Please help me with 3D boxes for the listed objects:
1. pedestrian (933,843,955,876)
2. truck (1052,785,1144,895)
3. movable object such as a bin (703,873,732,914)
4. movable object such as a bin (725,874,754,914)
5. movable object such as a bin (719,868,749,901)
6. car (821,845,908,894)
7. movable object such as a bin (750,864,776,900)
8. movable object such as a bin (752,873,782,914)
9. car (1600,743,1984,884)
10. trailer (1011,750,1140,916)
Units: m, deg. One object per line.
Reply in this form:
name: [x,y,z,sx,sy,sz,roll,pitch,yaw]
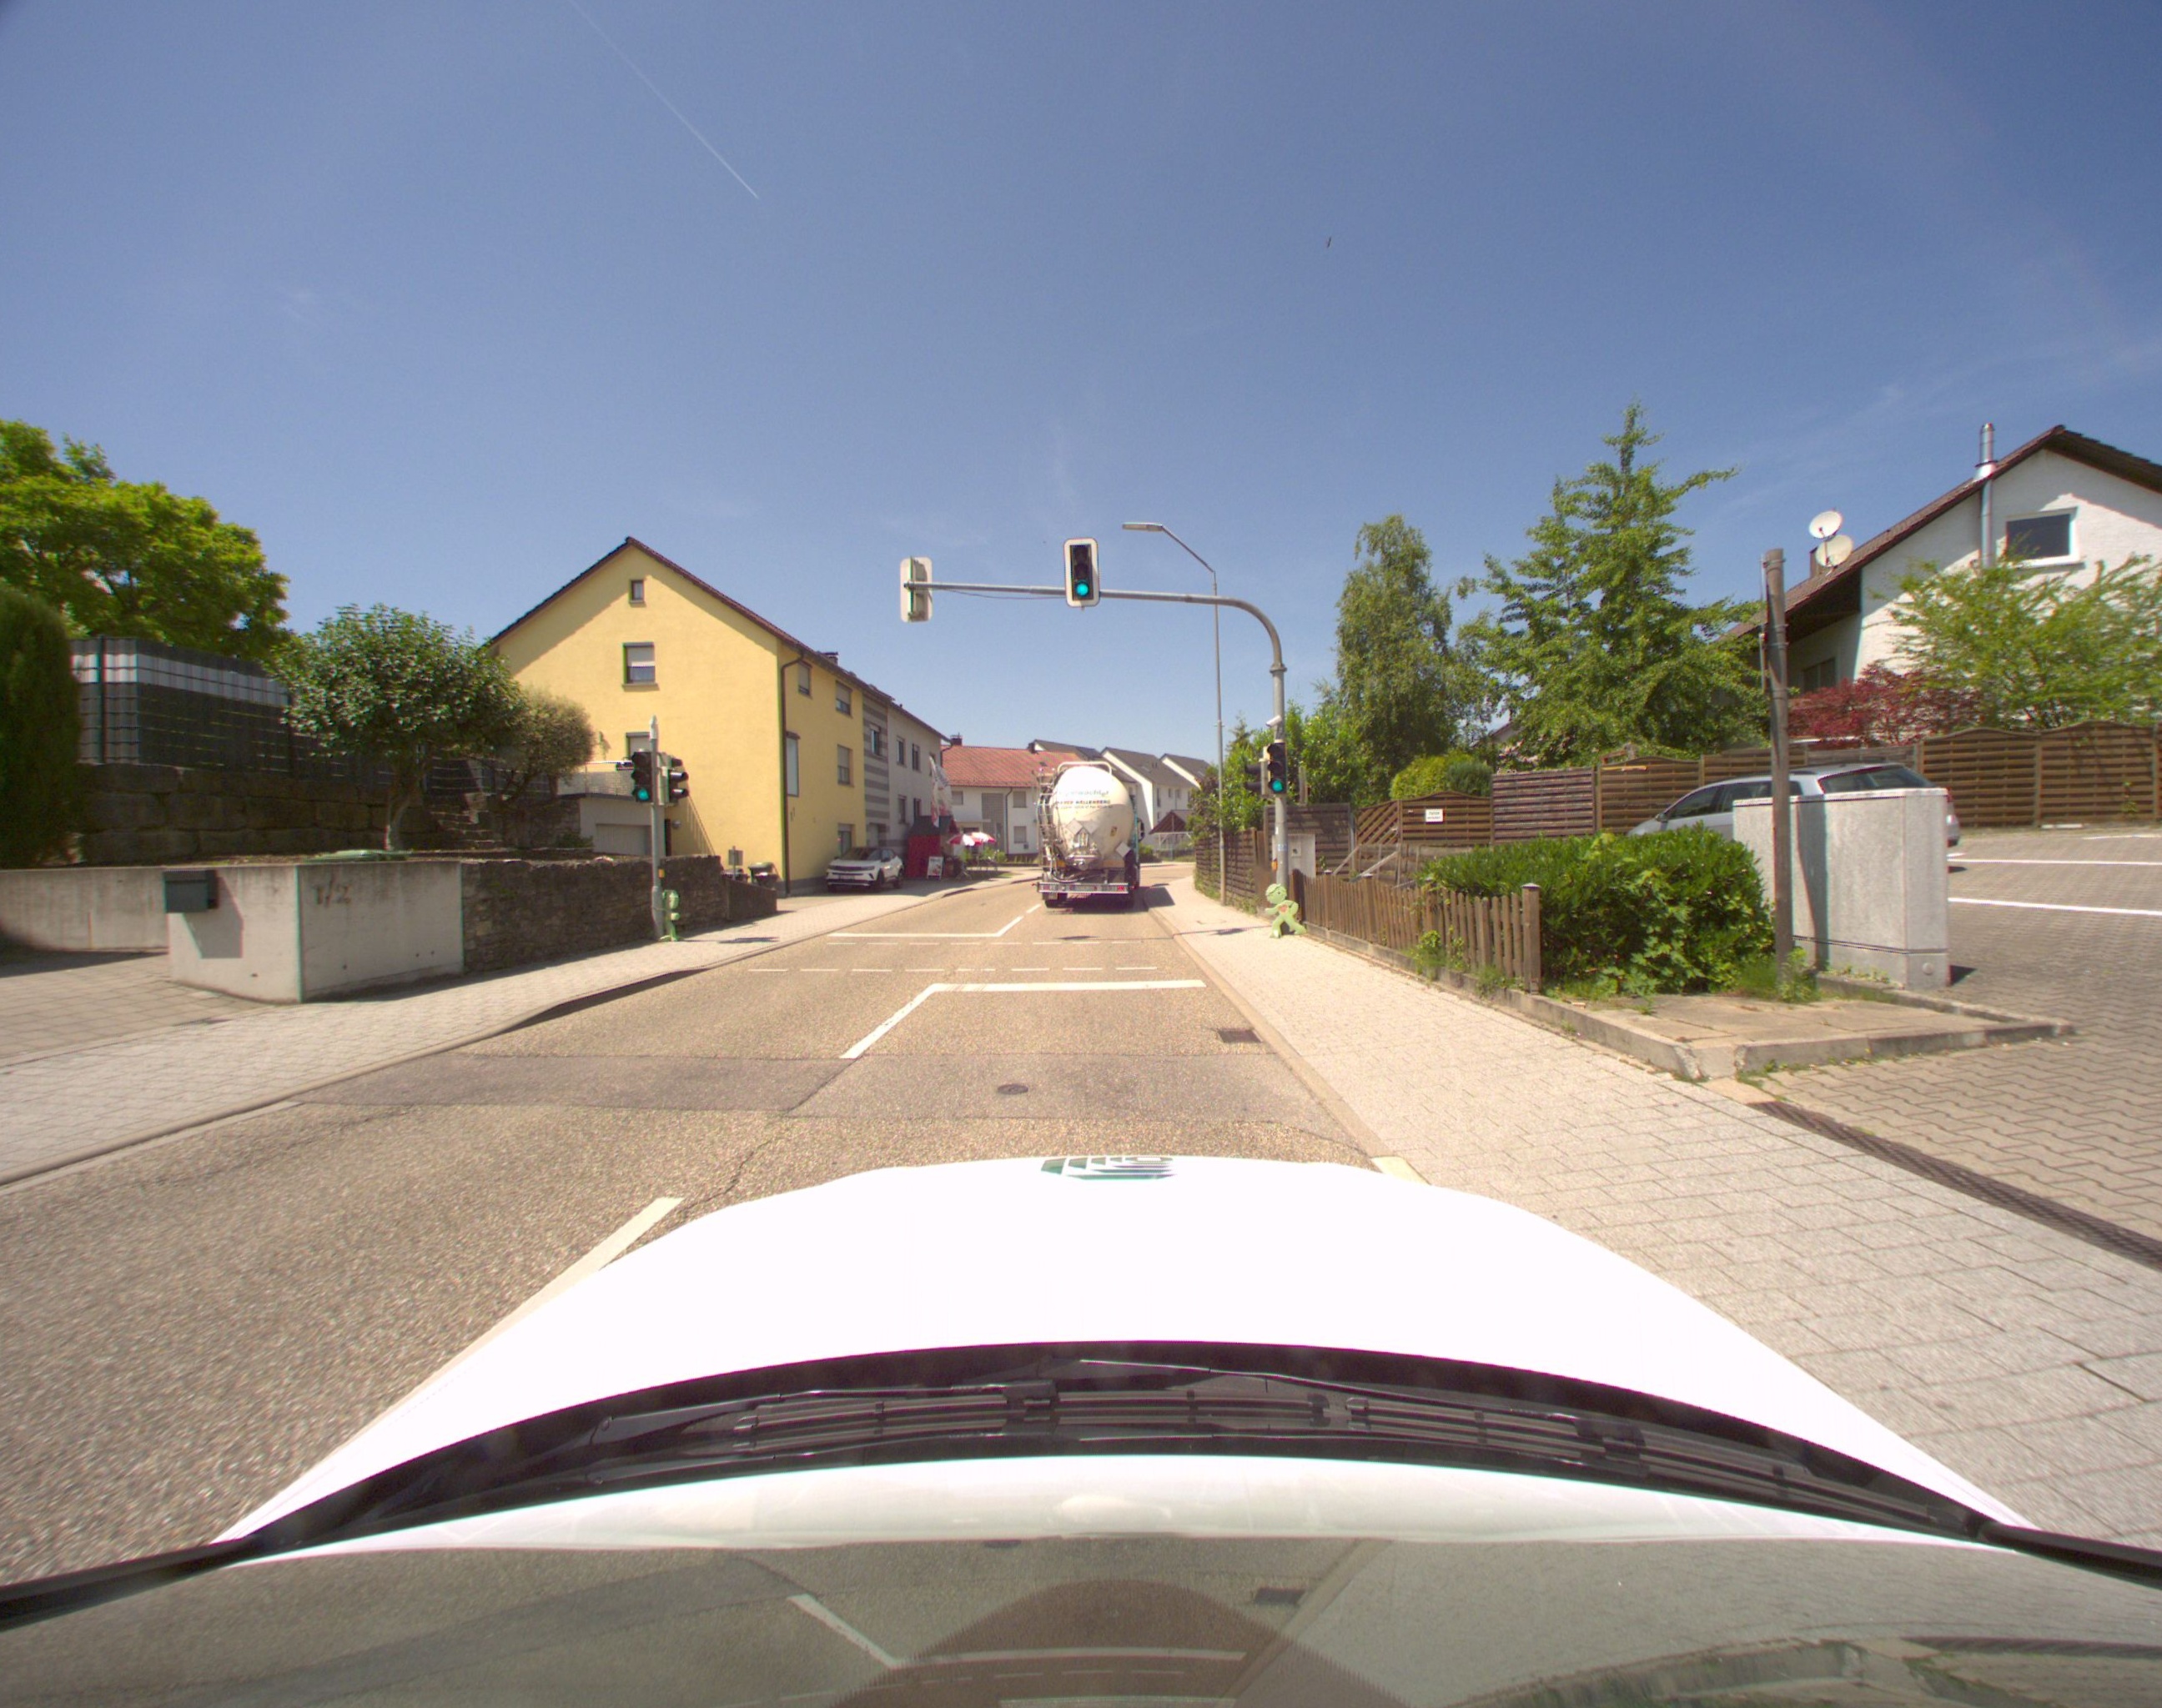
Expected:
pedestrian: [-6.649,0.250,39.533,0.605,1.587,0.814,-1,0,34]
truck: [0.848,-0.553,33.650,2.972,3.964,5.590,-4,0,7]
movable object such as a bin: [-8.669,0.932,19.446,0.445,0.938,0.531,-1,0,1]
movable object such as a bin: [-8.157,0.941,19.472,0.445,0.928,0.562,0,0,1]
movable object such as a bin: [-10.118,0.884,23.760,0.595,0.910,0.608,-1,0,1]
car: [-7.472,0.484,28.476,1.723,1.552,4.191,-1,0,2]
movable object such as a bin: [-9.389,0.813,24.042,0.499,1.043,0.608,-1,0,1]
movable object such as a bin: [-7.458,0.921,19.362,0.499,0.948,0.554,0,0,1]
car: [9.877,-0.491,11.917,1.624,1.463,4.505,-8,0,2]
trailer: [0.199,-0.562,26.211,2.940,3.947,11.629,-4,0,3]
